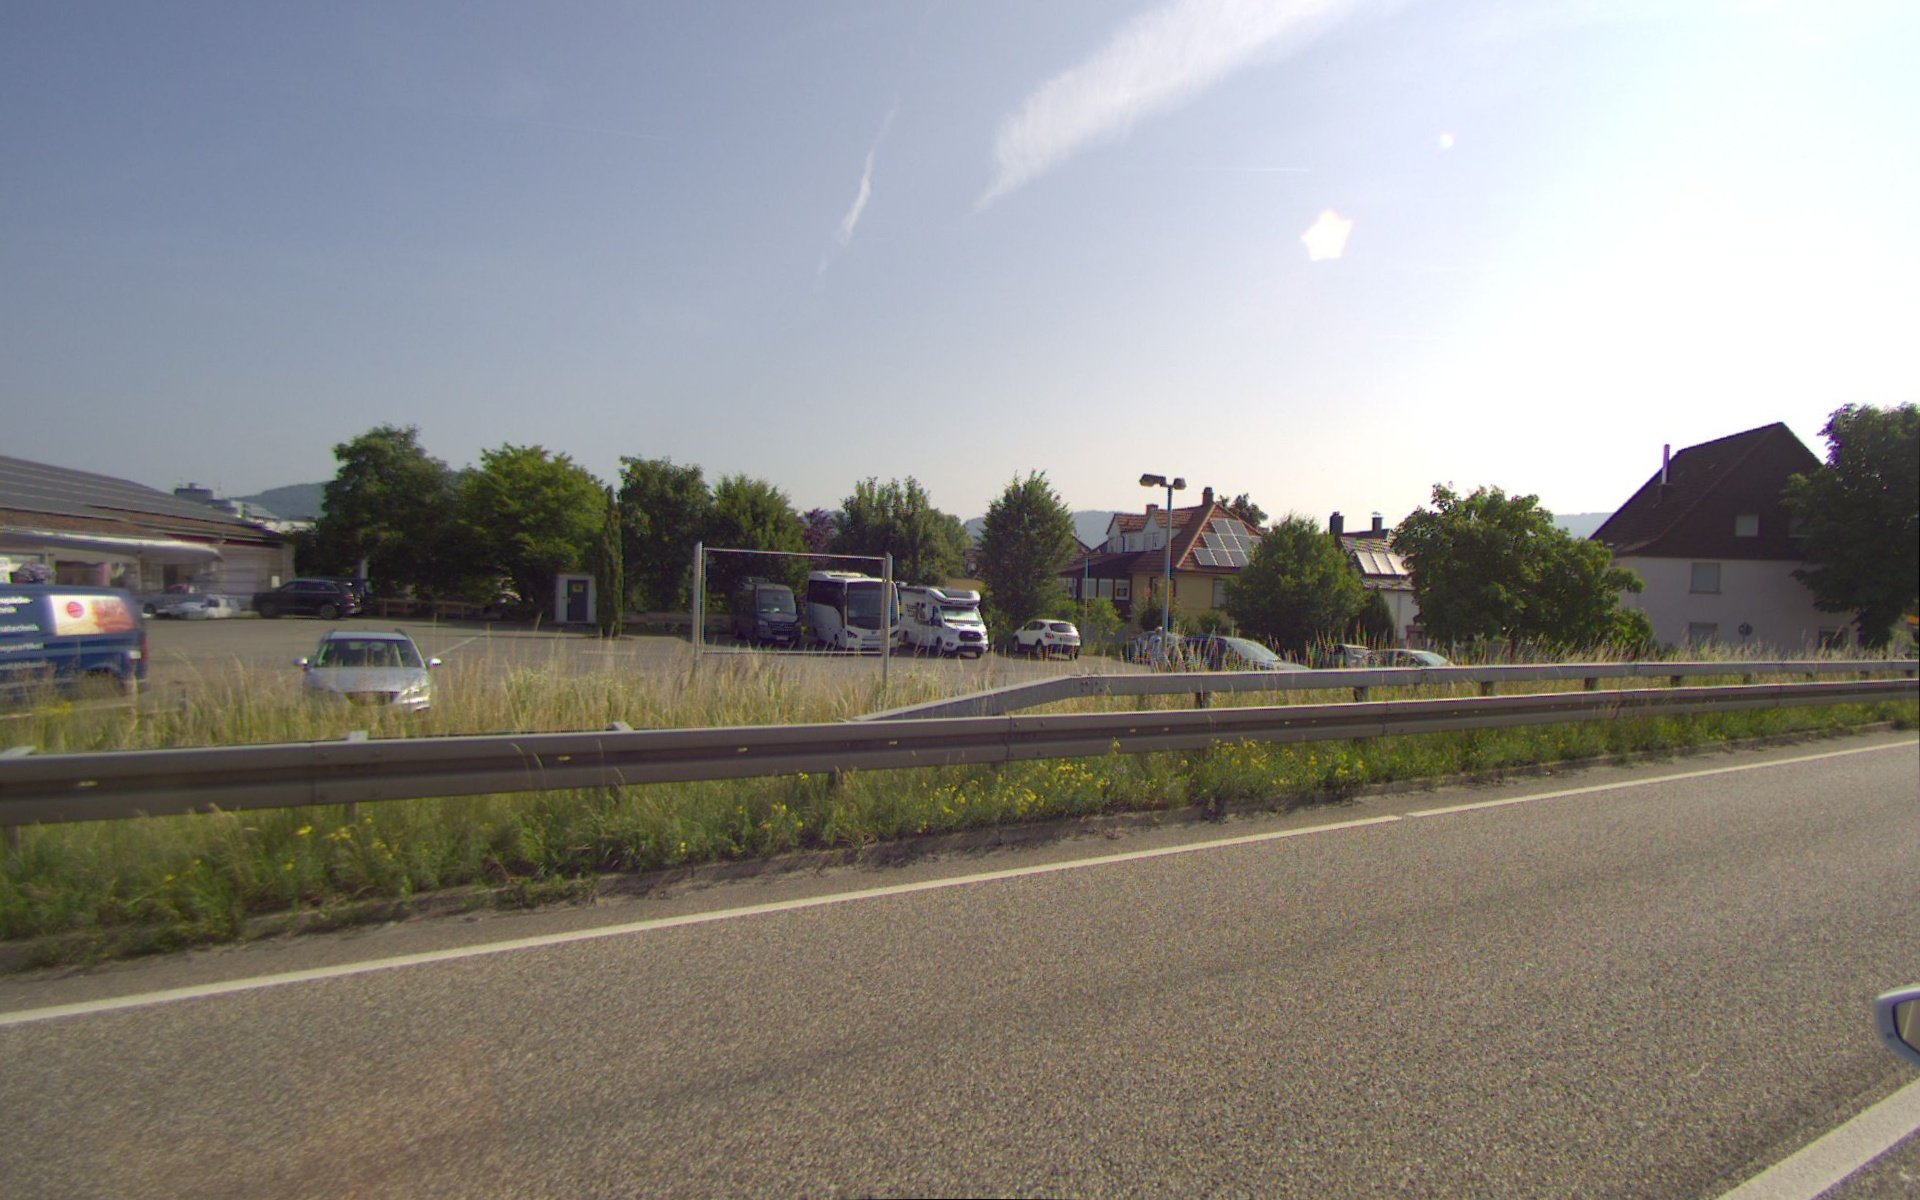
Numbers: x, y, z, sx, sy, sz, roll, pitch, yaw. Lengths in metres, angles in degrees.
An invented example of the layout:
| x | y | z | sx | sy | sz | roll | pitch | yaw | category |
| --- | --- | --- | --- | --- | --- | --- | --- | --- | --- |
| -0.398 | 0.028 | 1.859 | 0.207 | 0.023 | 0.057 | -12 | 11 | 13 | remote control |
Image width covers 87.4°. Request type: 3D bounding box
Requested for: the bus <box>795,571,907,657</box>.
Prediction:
| x | y | z | sx | sy | sz | roll | pitch | yaw | category |
| --- | --- | --- | --- | --- | --- | --- | --- | --- | --- |
| -5.007 | 0.434 | 44.350 | 2.626 | 3.400 | 9.081 | 0 | 2 | -22 | bus |

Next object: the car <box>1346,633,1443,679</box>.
| x | y | z | sx | sy | sz | roll | pitch | yaw | category |
| --- | --- | --- | --- | --- | --- | --- | --- | --- | --- |
| 20.543 | 2.620 | 47.635 | 1.833 | 1.655 | 4.153 | 4 | 2 | -18 | car |

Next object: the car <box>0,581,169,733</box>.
| x | y | z | sx | sy | sz | roll | pitch | yaw | category |
| --- | --- | --- | --- | --- | --- | --- | --- | --- | --- |
| -13.819 | 0.746 | 13.554 | 1.959 | 2.040 | 4.908 | 1 | 0 | 8 | car |

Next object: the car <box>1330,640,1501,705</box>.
| x | y | z | sx | sy | sz | roll | pitch | yaw | category |
| --- | --- | --- | --- | --- | --- | --- | --- | --- | --- |
| 13.040 | 2.020 | 29.032 | 1.851 | 1.524 | 4.281 | 1 | 0 | -28 | car |

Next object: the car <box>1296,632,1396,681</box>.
| x | y | z | sx | sy | sz | roll | pitch | yaw | category |
| --- | --- | --- | --- | --- | --- | --- | --- | --- | --- |
| 17.587 | 2.542 | 46.006 | 1.831 | 1.655 | 4.557 | 4 | 2 | -15 | car |

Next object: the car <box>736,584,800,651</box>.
| x | y | z | sx | sy | sz | roll | pitch | yaw | category |
| --- | --- | --- | --- | --- | --- | --- | --- | --- | --- |
| -8.570 | 0.709 | 44.430 | 1.835 | 2.696 | 5.011 | 1 | 1 | -22 | car |

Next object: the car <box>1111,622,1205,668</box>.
| x | y | z | sx | sy | sz | roll | pitch | yaw | category |
| --- | --- | --- | --- | --- | --- | --- | --- | --- | --- |
| 8.698 | 1.970 | 44.475 | 1.835 | 1.655 | 4.548 | 4 | 0 | -22 | car |

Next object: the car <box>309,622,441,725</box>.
| x | y | z | sx | sy | sz | roll | pitch | yaw | category |
| --- | --- | --- | --- | --- | --- | --- | --- | --- | --- |
| -10.134 | 1.141 | 17.281 | 1.724 | 1.400 | 4.589 | 1 | 0 | -33 | car |

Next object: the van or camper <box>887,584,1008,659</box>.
| x | y | z | sx | sy | sz | roll | pitch | yaw | category |
| --- | --- | --- | --- | --- | --- | --- | --- | --- | --- |
| -0.709 | 0.807 | 43.298 | 2.707 | 2.880 | 7.380 | 1 | 1 | -22 | van or camper |

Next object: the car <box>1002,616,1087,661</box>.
| x | y | z | sx | sy | sz | roll | pitch | yaw | category |
| --- | --- | --- | --- | --- | --- | --- | --- | --- | --- |
| 3.599 | 1.640 | 43.897 | 1.835 | 1.655 | 4.548 | 1 | 1 | -22 | car |

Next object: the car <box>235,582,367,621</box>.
| x | y | z | sx | sy | sz | roll | pitch | yaw | category |
| --- | --- | --- | --- | --- | --- | --- | --- | --- | --- |
| -28.902 | 0.074 | 44.222 | 4.562 | 1.629 | 1.734 | 1 | 0 | -22 | car |

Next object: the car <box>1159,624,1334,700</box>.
| x | y | z | sx | sy | sz | roll | pitch | yaw | category |
| --- | --- | --- | --- | --- | --- | --- | --- | --- | --- |
| 7.371 | 1.542 | 26.286 | 1.853 | 1.687 | 4.276 | 1 | 0 | -32 | car |

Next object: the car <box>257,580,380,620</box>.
| x | y | z | sx | sy | sz | roll | pitch | yaw | category |
| --- | --- | --- | --- | --- | --- | --- | --- | --- | --- |
| -29.940 | 0.015 | 47.060 | 4.562 | 1.780 | 1.734 | 1 | 0 | -22 | car |
